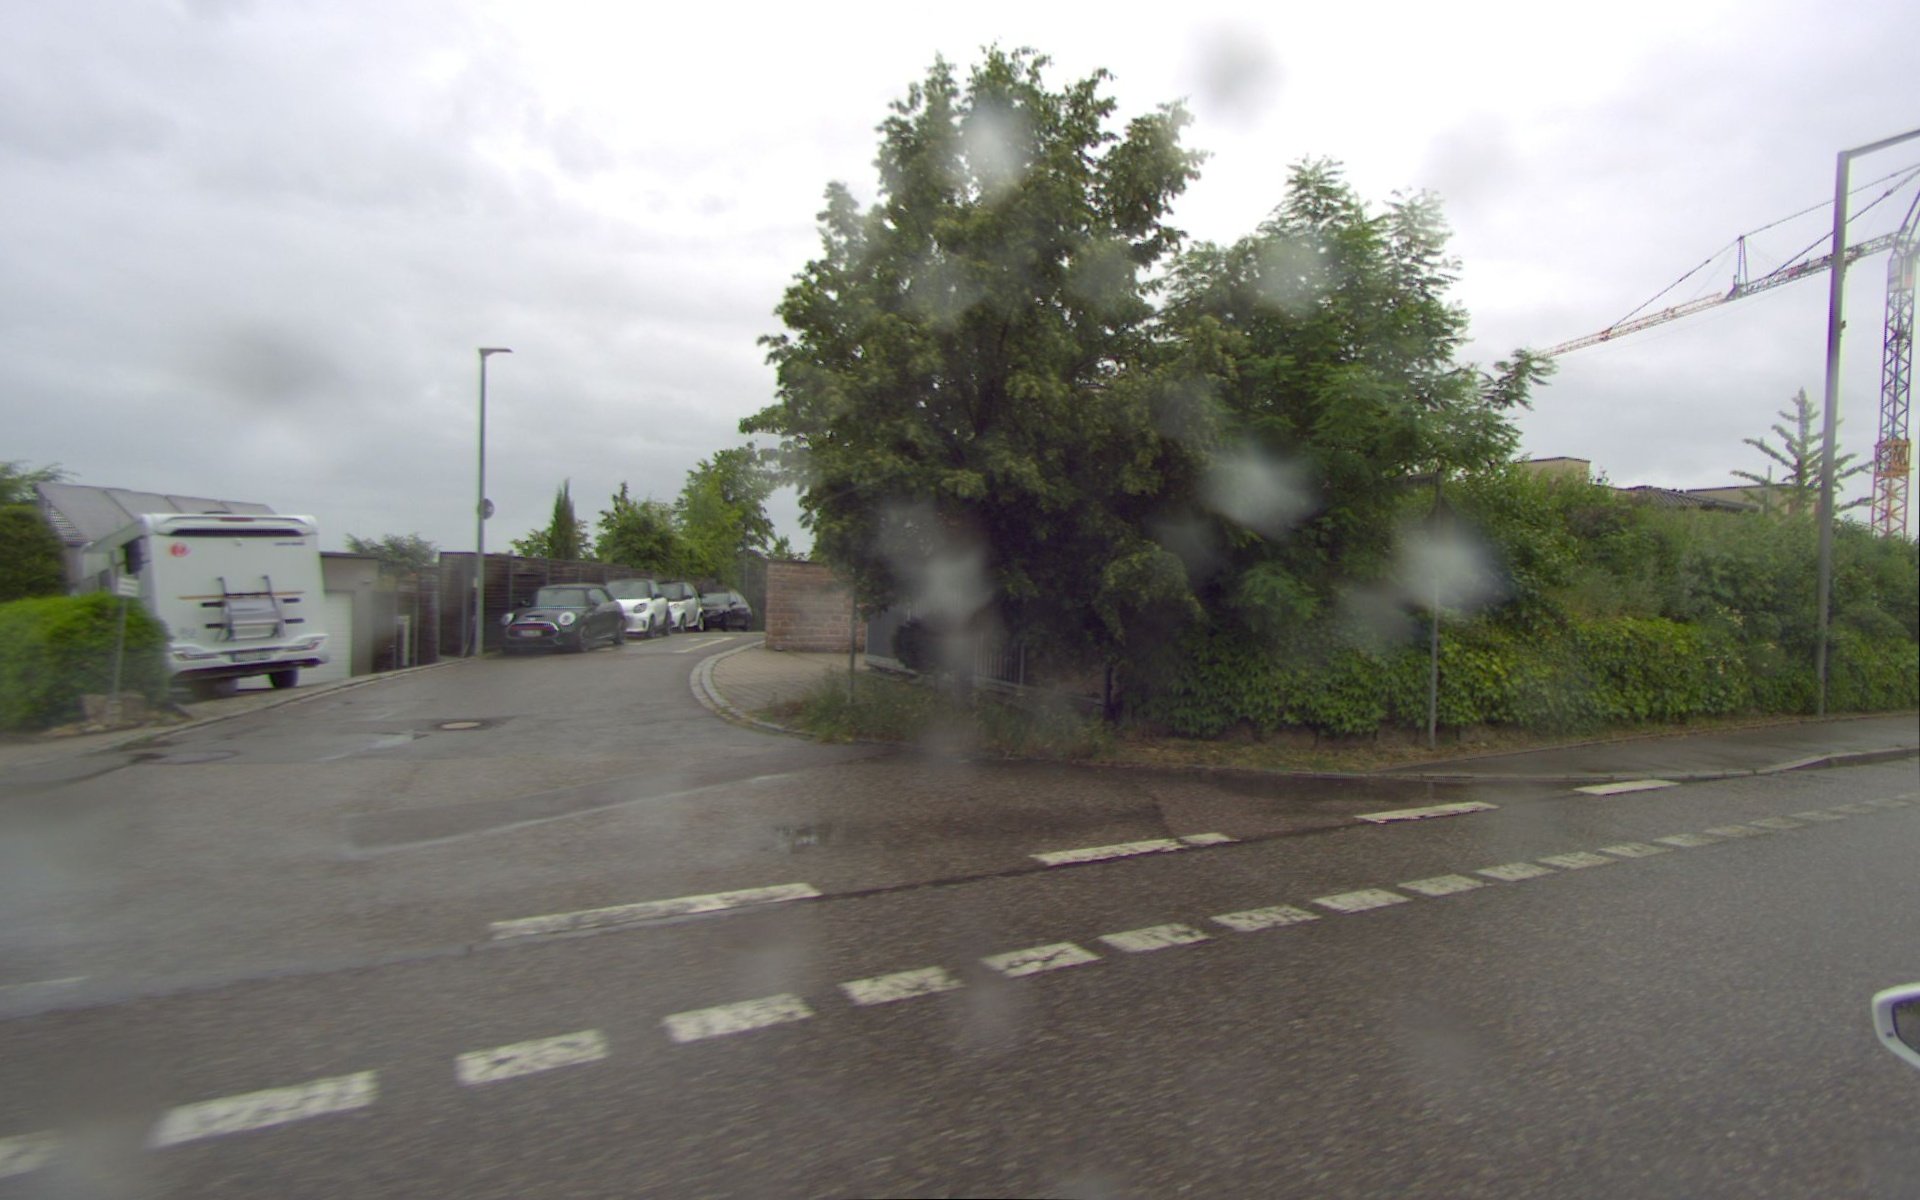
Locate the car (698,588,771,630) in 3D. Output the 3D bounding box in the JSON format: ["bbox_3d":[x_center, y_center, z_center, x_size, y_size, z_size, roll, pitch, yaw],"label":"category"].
[{"bbox_3d":[-8.392,0.316,37.688,1.768,1.478,4.000,1,0,1],"label":"car"}]

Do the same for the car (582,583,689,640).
[{"bbox_3d":[-8.619,0.280,26.993,1.714,1.392,3.880,1,0,-2],"label":"car"}]

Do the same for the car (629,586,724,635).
[{"bbox_3d":[-8.830,0.309,31.652,1.714,1.392,4.558,1,0,-1],"label":"car"}]

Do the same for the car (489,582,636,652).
[{"bbox_3d":[-8.690,0.336,22.335,1.837,1.381,3.998,1,0,-3],"label":"car"}]

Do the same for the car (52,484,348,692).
[{"bbox_3d":[-13.787,0.083,17.974,7.418,2.918,2.811,-5,-5,41],"label":"car"}]
